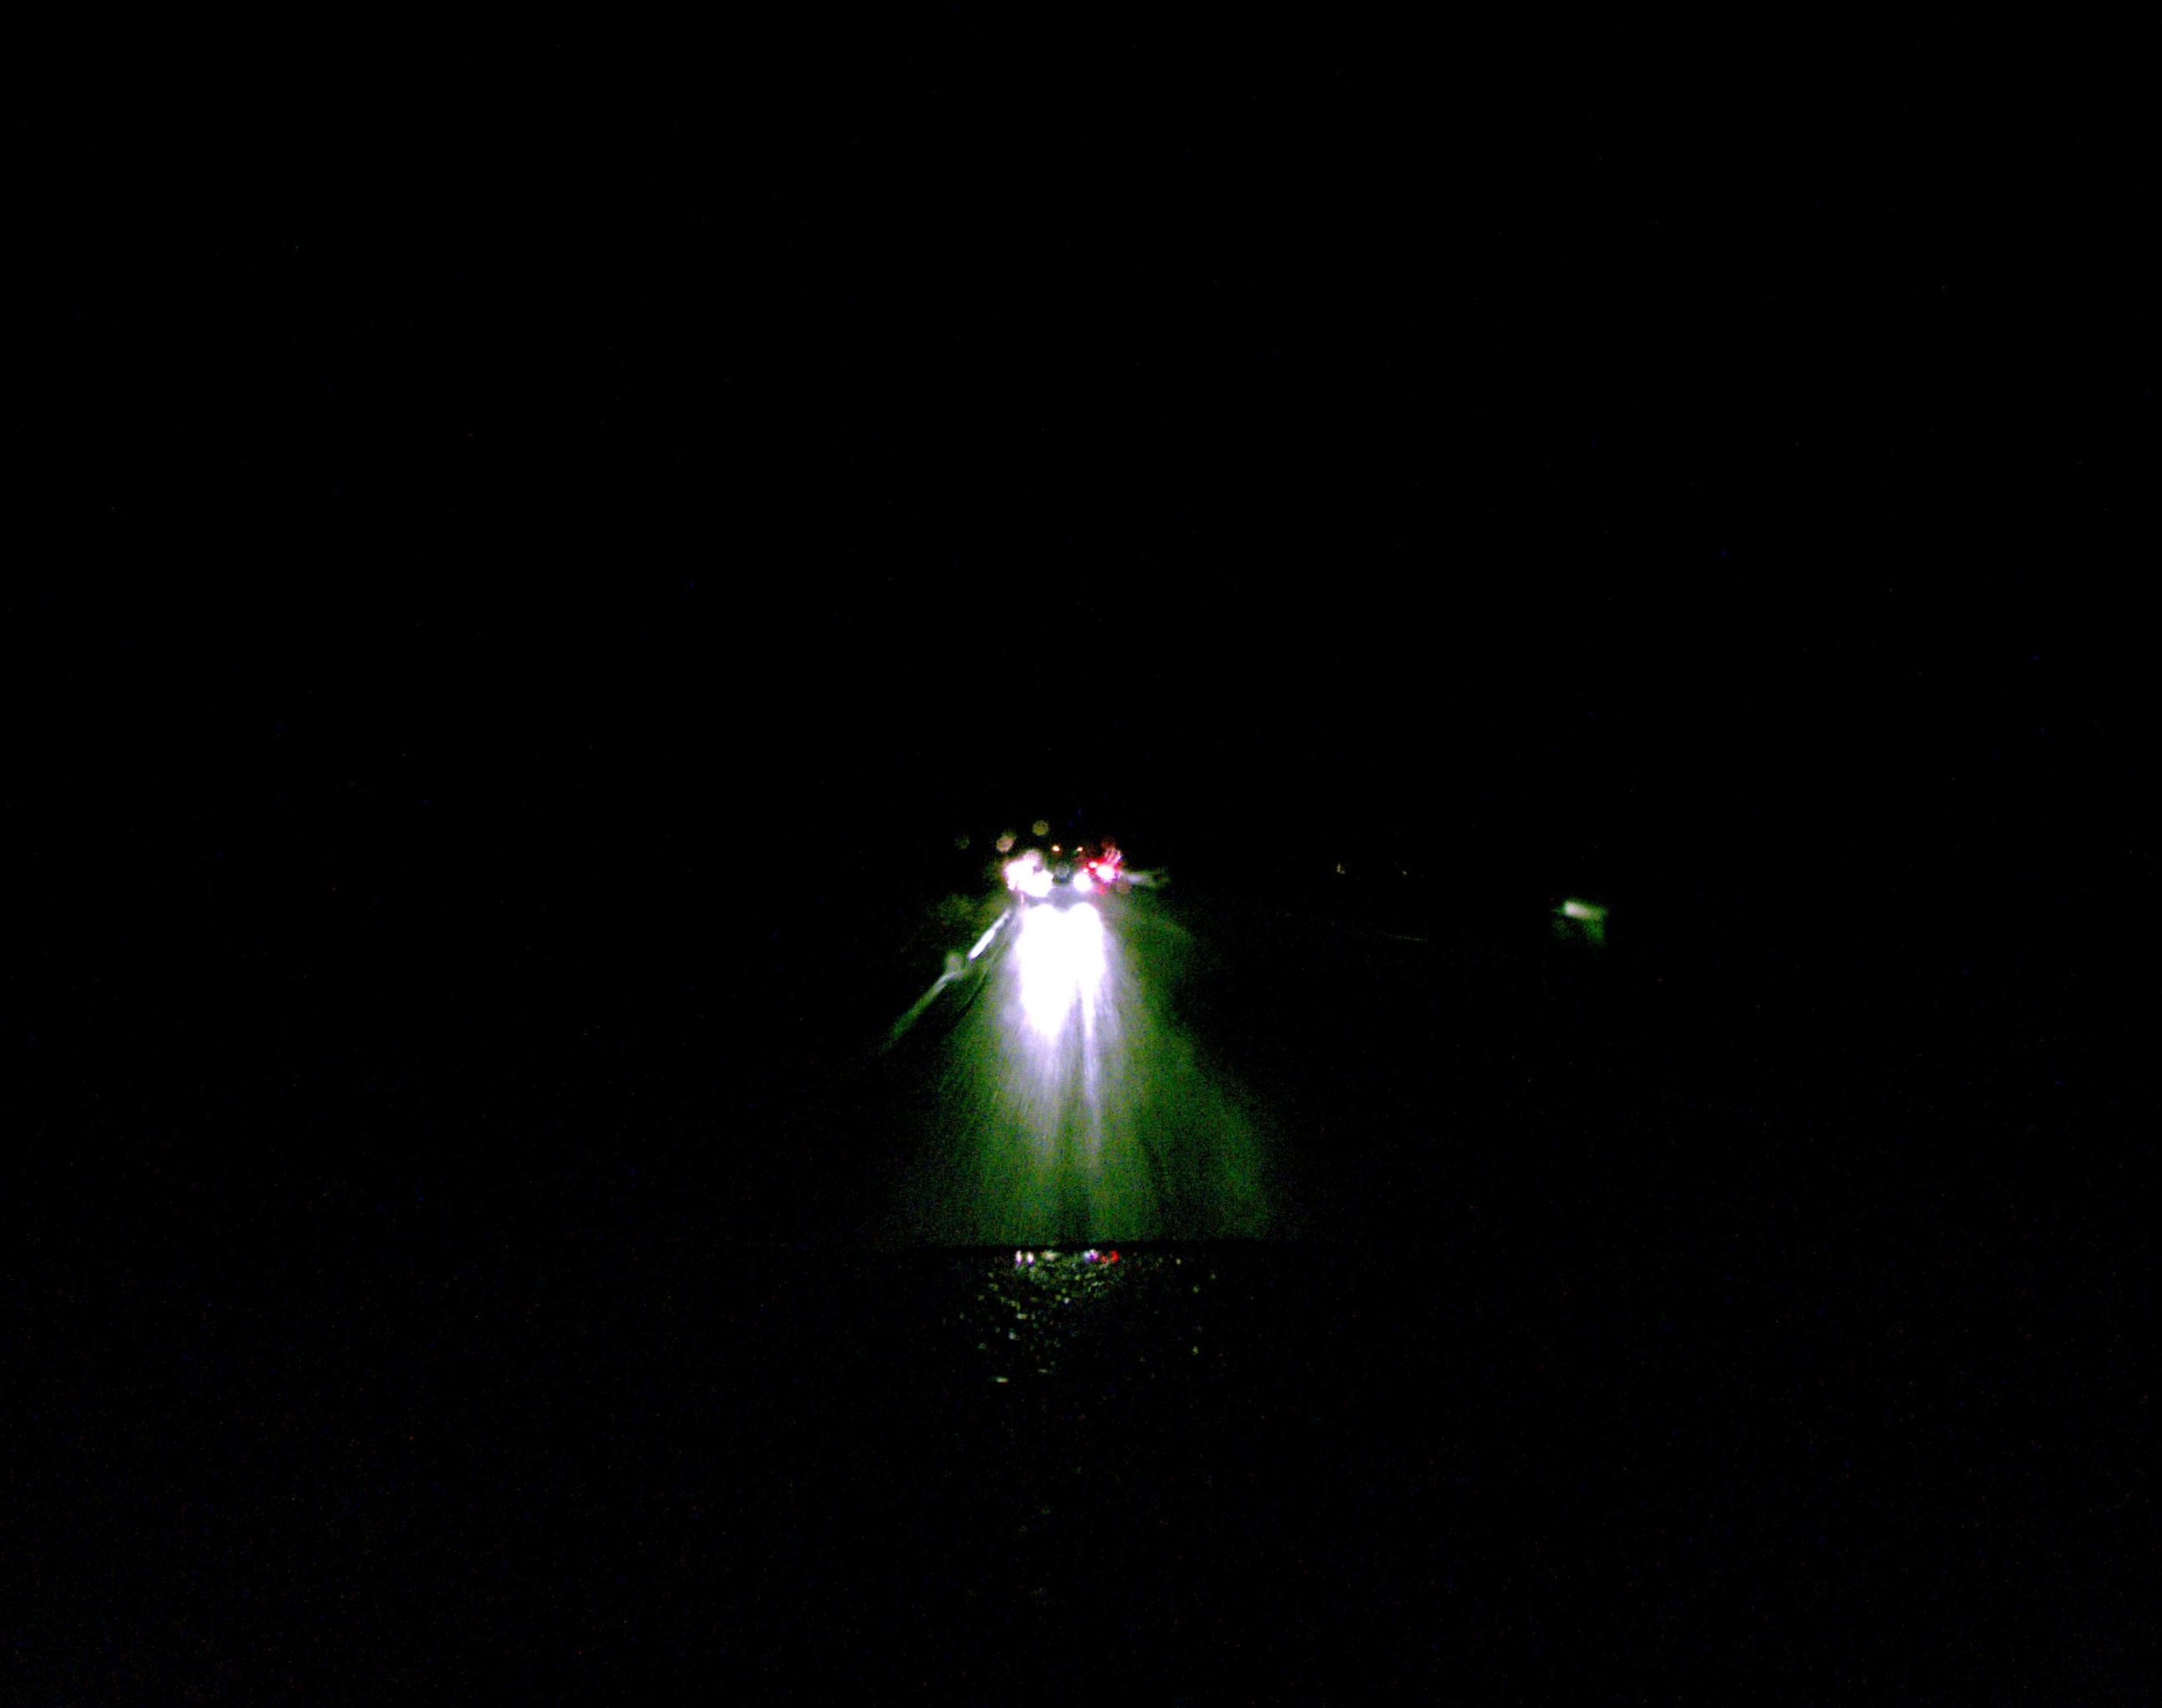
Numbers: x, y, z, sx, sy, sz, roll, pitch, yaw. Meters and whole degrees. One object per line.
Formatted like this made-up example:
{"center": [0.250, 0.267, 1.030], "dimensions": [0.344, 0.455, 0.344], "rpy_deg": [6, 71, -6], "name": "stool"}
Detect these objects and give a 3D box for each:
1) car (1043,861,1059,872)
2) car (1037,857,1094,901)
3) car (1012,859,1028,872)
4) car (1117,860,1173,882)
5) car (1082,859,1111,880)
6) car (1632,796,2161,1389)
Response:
{"center": [-3.801, 1.562, 95.968], "dimensions": [1.761, 1.397, 4.486], "rpy_deg": [-1, -1, -5], "name": "car"}
{"center": [-0.683, 0.931, 29.930], "dimensions": [1.902, 1.551, 3.998], "rpy_deg": [1, 0, -5], "name": "car"}
{"center": [-8.000, 1.473, 99.338], "dimensions": [1.902, 1.551, 3.998], "rpy_deg": [1, 0, -5], "name": "car"}
{"center": [5.928, 1.587, 70.809], "dimensions": [4.948, 1.827, 1.933], "rpy_deg": [3, -1, -4], "name": "car"}
{"center": [1.100, 1.140, 56.892], "dimensions": [1.770, 1.533, 4.147], "rpy_deg": [0, -1, -4], "name": "car"}
{"center": [4.032, 0.676, 2.319], "dimensions": [1.847, 1.710, 3.960], "rpy_deg": [-1, 0, 1], "name": "car"}
